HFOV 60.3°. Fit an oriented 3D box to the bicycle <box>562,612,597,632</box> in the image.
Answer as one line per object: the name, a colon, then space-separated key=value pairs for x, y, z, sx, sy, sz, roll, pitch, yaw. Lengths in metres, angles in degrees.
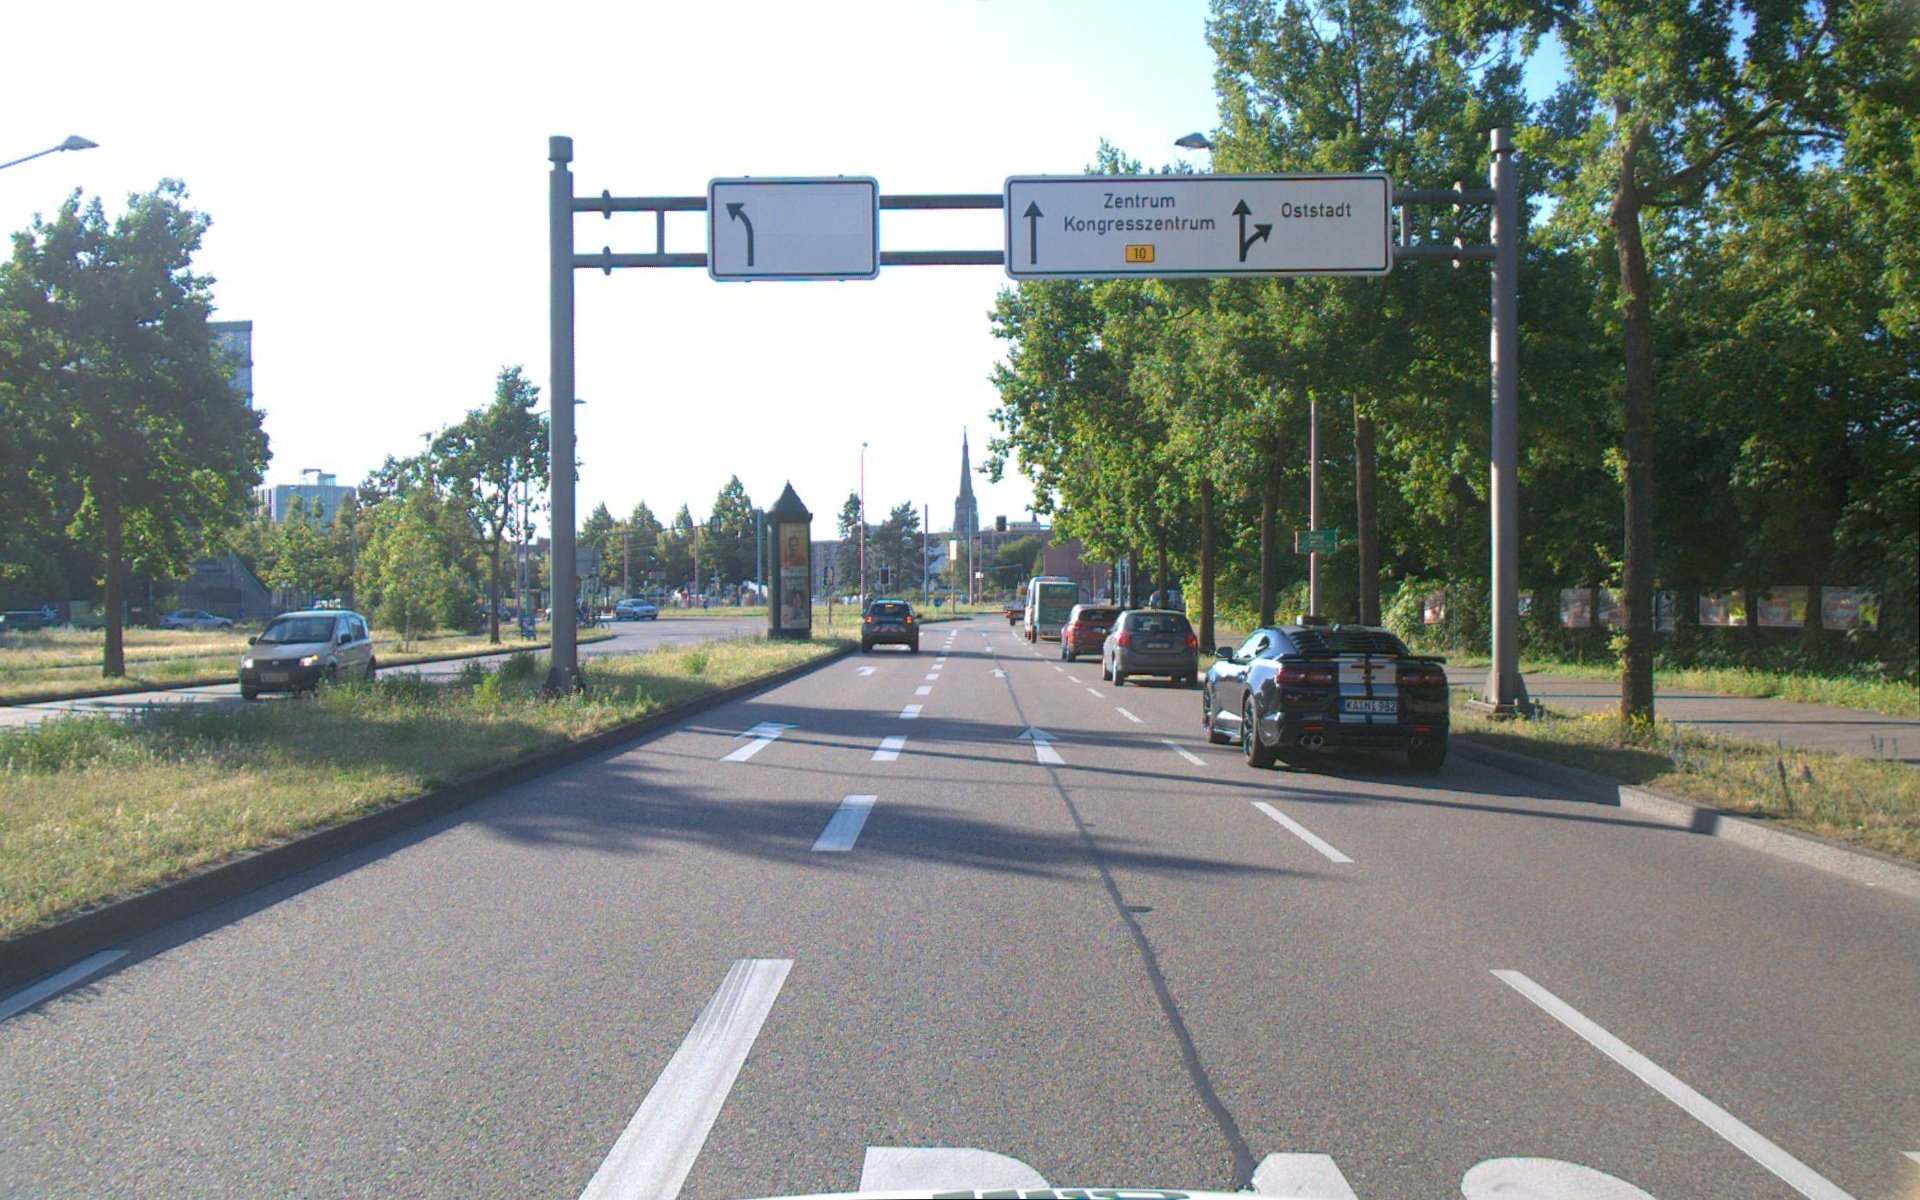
bicycle: x=-20.834 y=1.210 z=90.538 sx=1.868 sy=1.037 sz=0.505 roll=0 pitch=0 yaw=16

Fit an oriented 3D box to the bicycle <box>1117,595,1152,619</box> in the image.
bicycle: x=9.705 y=0.405 z=92.216 sx=1.872 sy=1.266 sz=0.606 roll=-2 pitch=-1 yaw=37

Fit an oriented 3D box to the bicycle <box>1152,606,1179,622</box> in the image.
bicycle: x=11.582 y=0.775 z=93.377 sx=1.435 sy=0.800 sz=0.438 roll=-4 pitch=2 yaw=-15

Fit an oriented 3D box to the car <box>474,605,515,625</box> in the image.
car: x=-37.777 y=1.194 z=134.261 sx=1.631 sy=1.467 sz=3.619 roll=-2 pitch=1 yaw=12

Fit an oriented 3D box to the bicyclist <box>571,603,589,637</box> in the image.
bicyclist: x=-20.826 y=1.096 z=90.569 sx=0.796 sy=1.801 sz=0.496 roll=1 pitch=0 yaw=15

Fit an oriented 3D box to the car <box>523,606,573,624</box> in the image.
car: x=-36.074 y=1.311 z=144.964 sx=4.052 sy=1.400 sz=1.672 roll=-2 pitch=1 yaw=24

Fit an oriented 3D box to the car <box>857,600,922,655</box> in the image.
car: x=-2.228 y=0.842 z=53.319 sx=1.866 sy=1.689 sz=4.000 roll=-1 pitch=0 yaw=1

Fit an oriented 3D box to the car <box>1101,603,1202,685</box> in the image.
car: x=3.836 y=0.851 z=33.590 sx=1.711 sy=1.499 sz=3.821 roll=-1 pitch=0 yaw=2

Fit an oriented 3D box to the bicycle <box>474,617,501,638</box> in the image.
bicycle: x=-26.622 y=1.548 z=93.131 sx=0.720 sy=1.138 sz=1.794 roll=-1 pitch=0 yaw=-44

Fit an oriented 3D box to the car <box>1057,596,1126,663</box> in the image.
car: x=3.737 y=0.808 z=47.585 sx=1.711 sy=1.648 sz=3.821 roll=1 pitch=3 yaw=1

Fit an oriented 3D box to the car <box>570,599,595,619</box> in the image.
car: x=-29.837 y=0.697 z=130.548 sx=1.871 sy=1.470 sz=4.125 roll=-1 pitch=0 yaw=-14

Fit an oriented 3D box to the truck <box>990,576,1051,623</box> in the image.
truck: x=3.526 y=-0.064 z=94.875 sx=2.525 sy=2.602 sz=6.257 roll=-1 pitch=0 yaw=11

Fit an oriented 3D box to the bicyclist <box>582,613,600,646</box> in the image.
bicyclist: x=-20.499 y=1.623 z=91.855 sx=0.795 sy=1.820 sz=0.497 roll=1 pitch=0 yaw=8

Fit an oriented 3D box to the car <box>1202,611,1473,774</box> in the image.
car: x=3.683 y=0.833 z=16.969 sx=1.816 sy=1.361 sz=4.626 roll=1 pitch=0 yaw=1

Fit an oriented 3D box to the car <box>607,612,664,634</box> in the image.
car: x=-23.270 y=1.643 z=118.524 sx=3.675 sy=1.459 sz=1.833 roll=-1 pitch=0 yaw=28

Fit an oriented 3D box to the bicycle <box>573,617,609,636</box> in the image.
bicycle: x=-20.469 y=1.483 z=91.845 sx=1.868 sy=1.037 sz=0.505 roll=0 pitch=0 yaw=7

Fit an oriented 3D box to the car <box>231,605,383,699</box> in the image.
car: x=-11.887 y=0.903 z=30.294 sx=1.531 sy=1.602 sz=3.411 roll=-1 pitch=0 yaw=-2

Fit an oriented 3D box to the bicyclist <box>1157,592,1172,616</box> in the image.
bicyclist: x=11.543 y=0.222 z=93.382 sx=0.638 sy=1.317 sz=0.464 roll=-2 pitch=1 yaw=-17

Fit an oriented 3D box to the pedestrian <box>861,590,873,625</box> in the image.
pedestrian: x=-4.967 y=0.407 z=88.346 sx=0.475 sy=1.876 sz=0.720 roll=-1 pitch=0 yaw=4

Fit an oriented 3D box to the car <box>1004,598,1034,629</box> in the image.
car: x=3.330 y=0.753 z=93.600 sx=1.569 sy=1.638 sz=4.000 roll=-1 pitch=0 yaw=1

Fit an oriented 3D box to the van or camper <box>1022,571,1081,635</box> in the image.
van or camper: x=3.957 y=0.112 z=72.746 sx=2.238 sy=2.675 sz=6.583 roll=0 pitch=0 yaw=0

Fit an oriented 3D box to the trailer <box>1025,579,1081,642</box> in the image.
trailer: x=3.715 y=0.411 z=66.614 sx=2.047 sy=2.442 sz=3.501 roll=1 pitch=0 yaw=0

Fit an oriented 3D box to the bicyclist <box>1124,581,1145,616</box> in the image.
bicyclist: x=9.732 y=-0.100 z=92.187 sx=0.921 sy=1.932 sz=0.599 roll=-2 pitch=-1 yaw=37

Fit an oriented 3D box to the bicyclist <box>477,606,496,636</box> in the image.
bicyclist: x=-26.696 y=1.190 z=93.160 sx=0.817 sy=1.695 sz=0.705 roll=-1 pitch=0 yaw=45

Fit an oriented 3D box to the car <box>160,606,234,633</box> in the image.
car: x=-46.018 y=1.166 z=99.821 sx=3.678 sy=1.534 sz=1.846 roll=-1 pitch=1 yaw=-43
